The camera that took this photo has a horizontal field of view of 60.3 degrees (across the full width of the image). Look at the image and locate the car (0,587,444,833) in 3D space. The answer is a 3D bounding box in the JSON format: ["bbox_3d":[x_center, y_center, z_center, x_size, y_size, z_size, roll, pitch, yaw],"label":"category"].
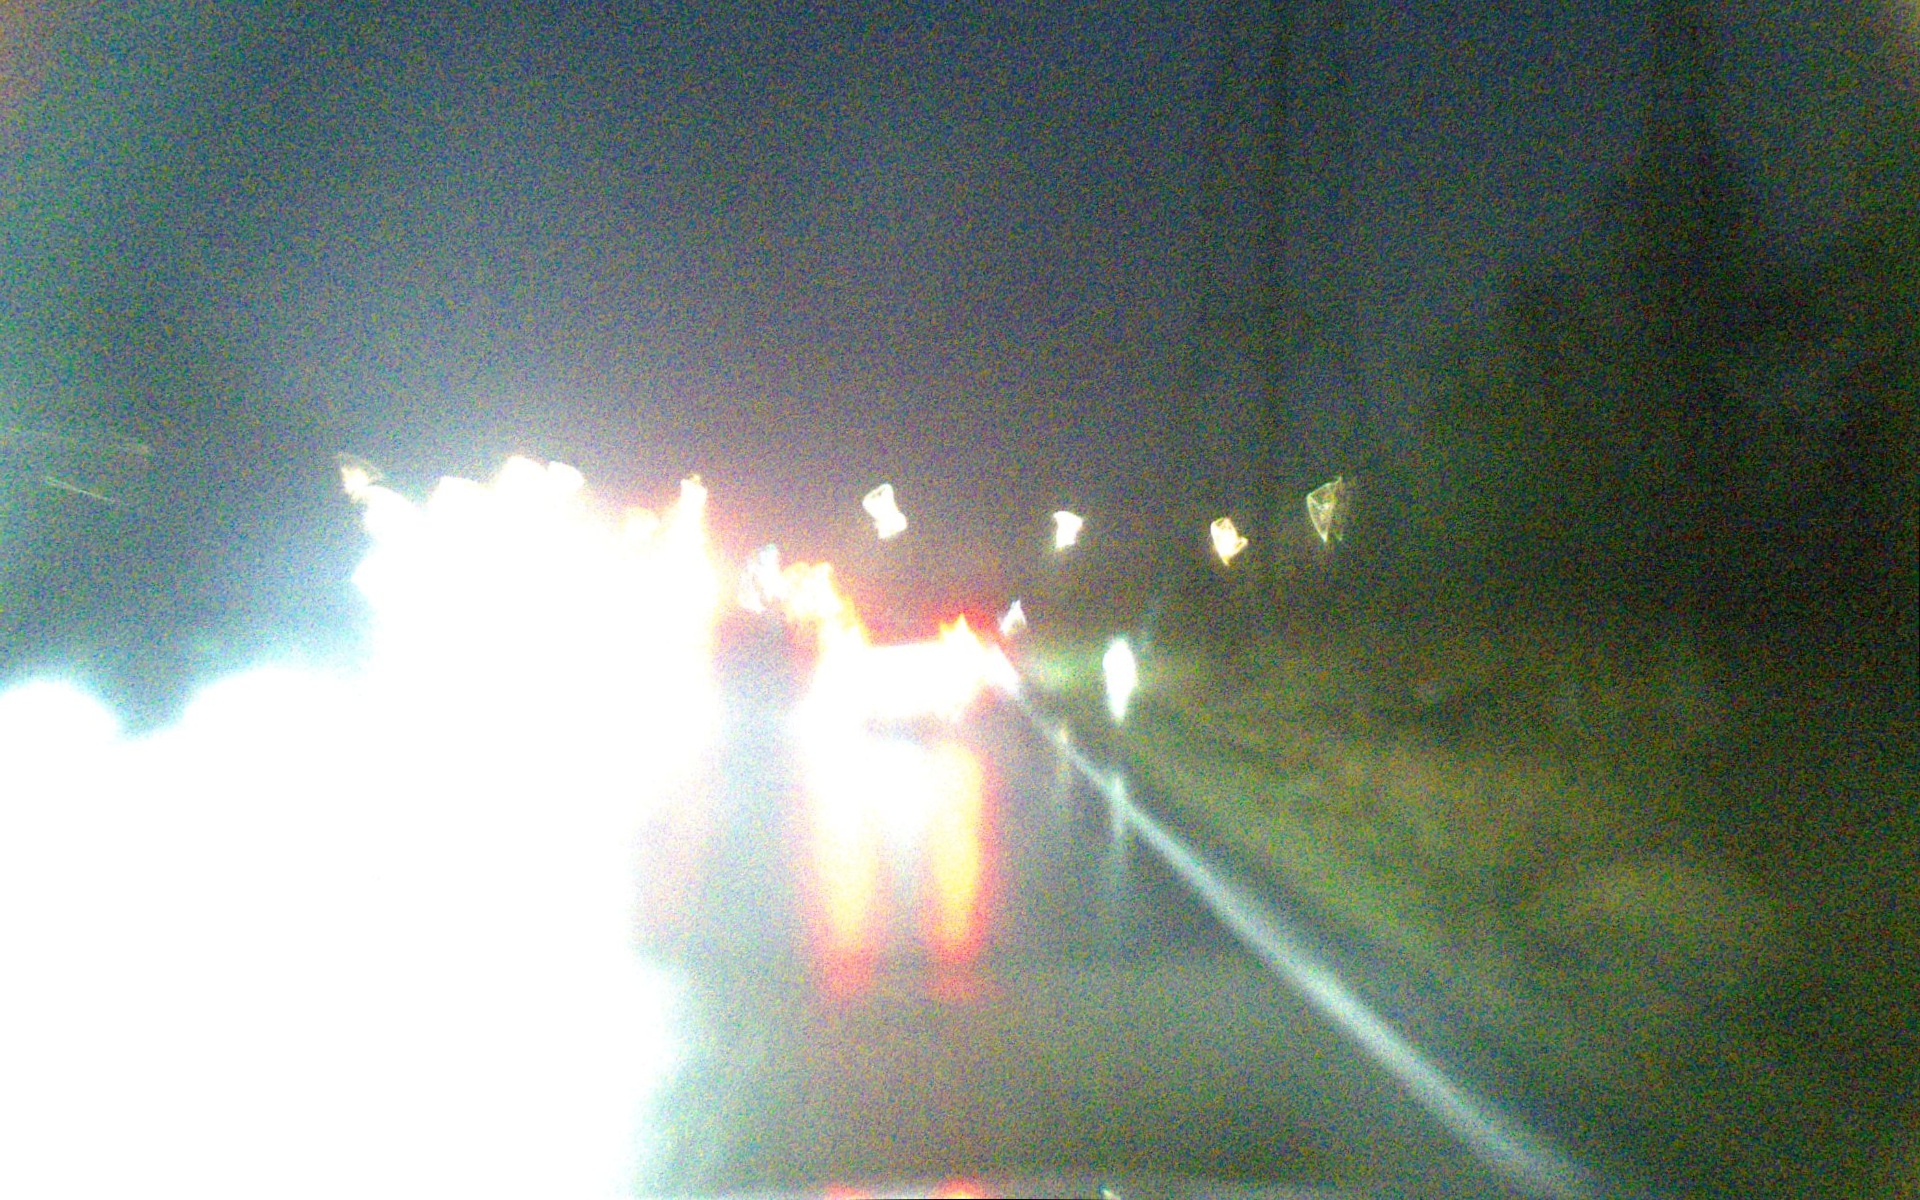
[{"bbox_3d":[-4.903,0.666,11.598,1.738,1.413,4.029,1,-1,-7],"label":"car"}]

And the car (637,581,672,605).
[{"bbox_3d":[-23.423,-0.542,126.741,1.963,1.656,4.959,-2,2,-18],"label":"car"}]

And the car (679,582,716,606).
[{"bbox_3d":[-20.186,-0.492,127.040,1.963,1.656,4.959,-2,2,-18],"label":"car"}]

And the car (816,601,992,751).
[{"bbox_3d":[-0.646,0.883,21.029,1.953,1.656,4.983,1,-1,-1],"label":"car"}]

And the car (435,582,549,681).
[{"bbox_3d":[-9.076,0.611,32.409,1.827,1.778,4.946,1,-1,-12],"label":"car"}]

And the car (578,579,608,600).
[{"bbox_3d":[-30.277,-0.882,136.450,1.963,1.656,4.959,-2,2,-18],"label":"car"}]
